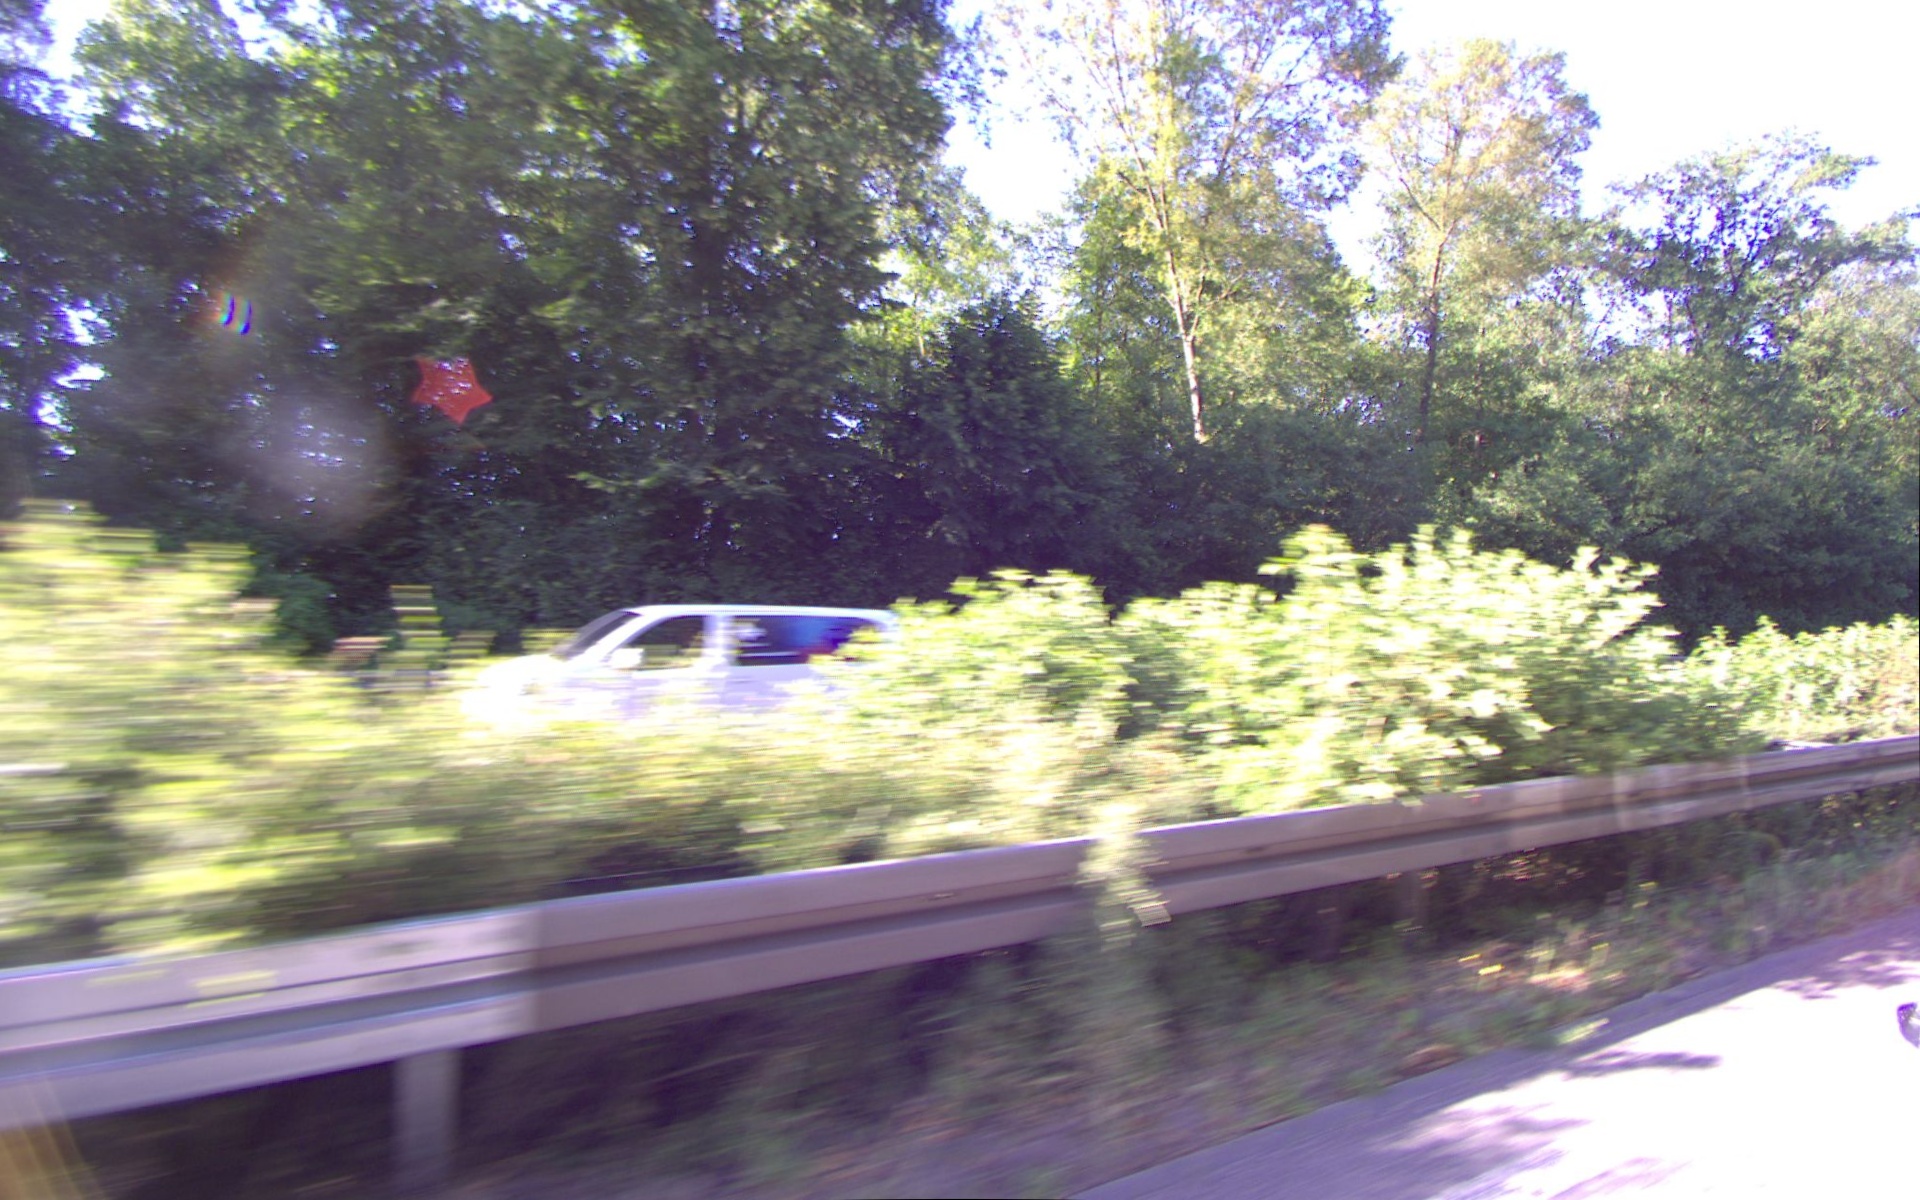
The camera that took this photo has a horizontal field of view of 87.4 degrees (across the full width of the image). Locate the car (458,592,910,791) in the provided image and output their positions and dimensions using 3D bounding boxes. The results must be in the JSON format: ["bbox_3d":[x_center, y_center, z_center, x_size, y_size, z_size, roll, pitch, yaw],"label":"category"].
[{"bbox_3d":[-3.110,0.933,11.640,4.659,1.885,1.982,2,0,-32],"label":"car"}]
